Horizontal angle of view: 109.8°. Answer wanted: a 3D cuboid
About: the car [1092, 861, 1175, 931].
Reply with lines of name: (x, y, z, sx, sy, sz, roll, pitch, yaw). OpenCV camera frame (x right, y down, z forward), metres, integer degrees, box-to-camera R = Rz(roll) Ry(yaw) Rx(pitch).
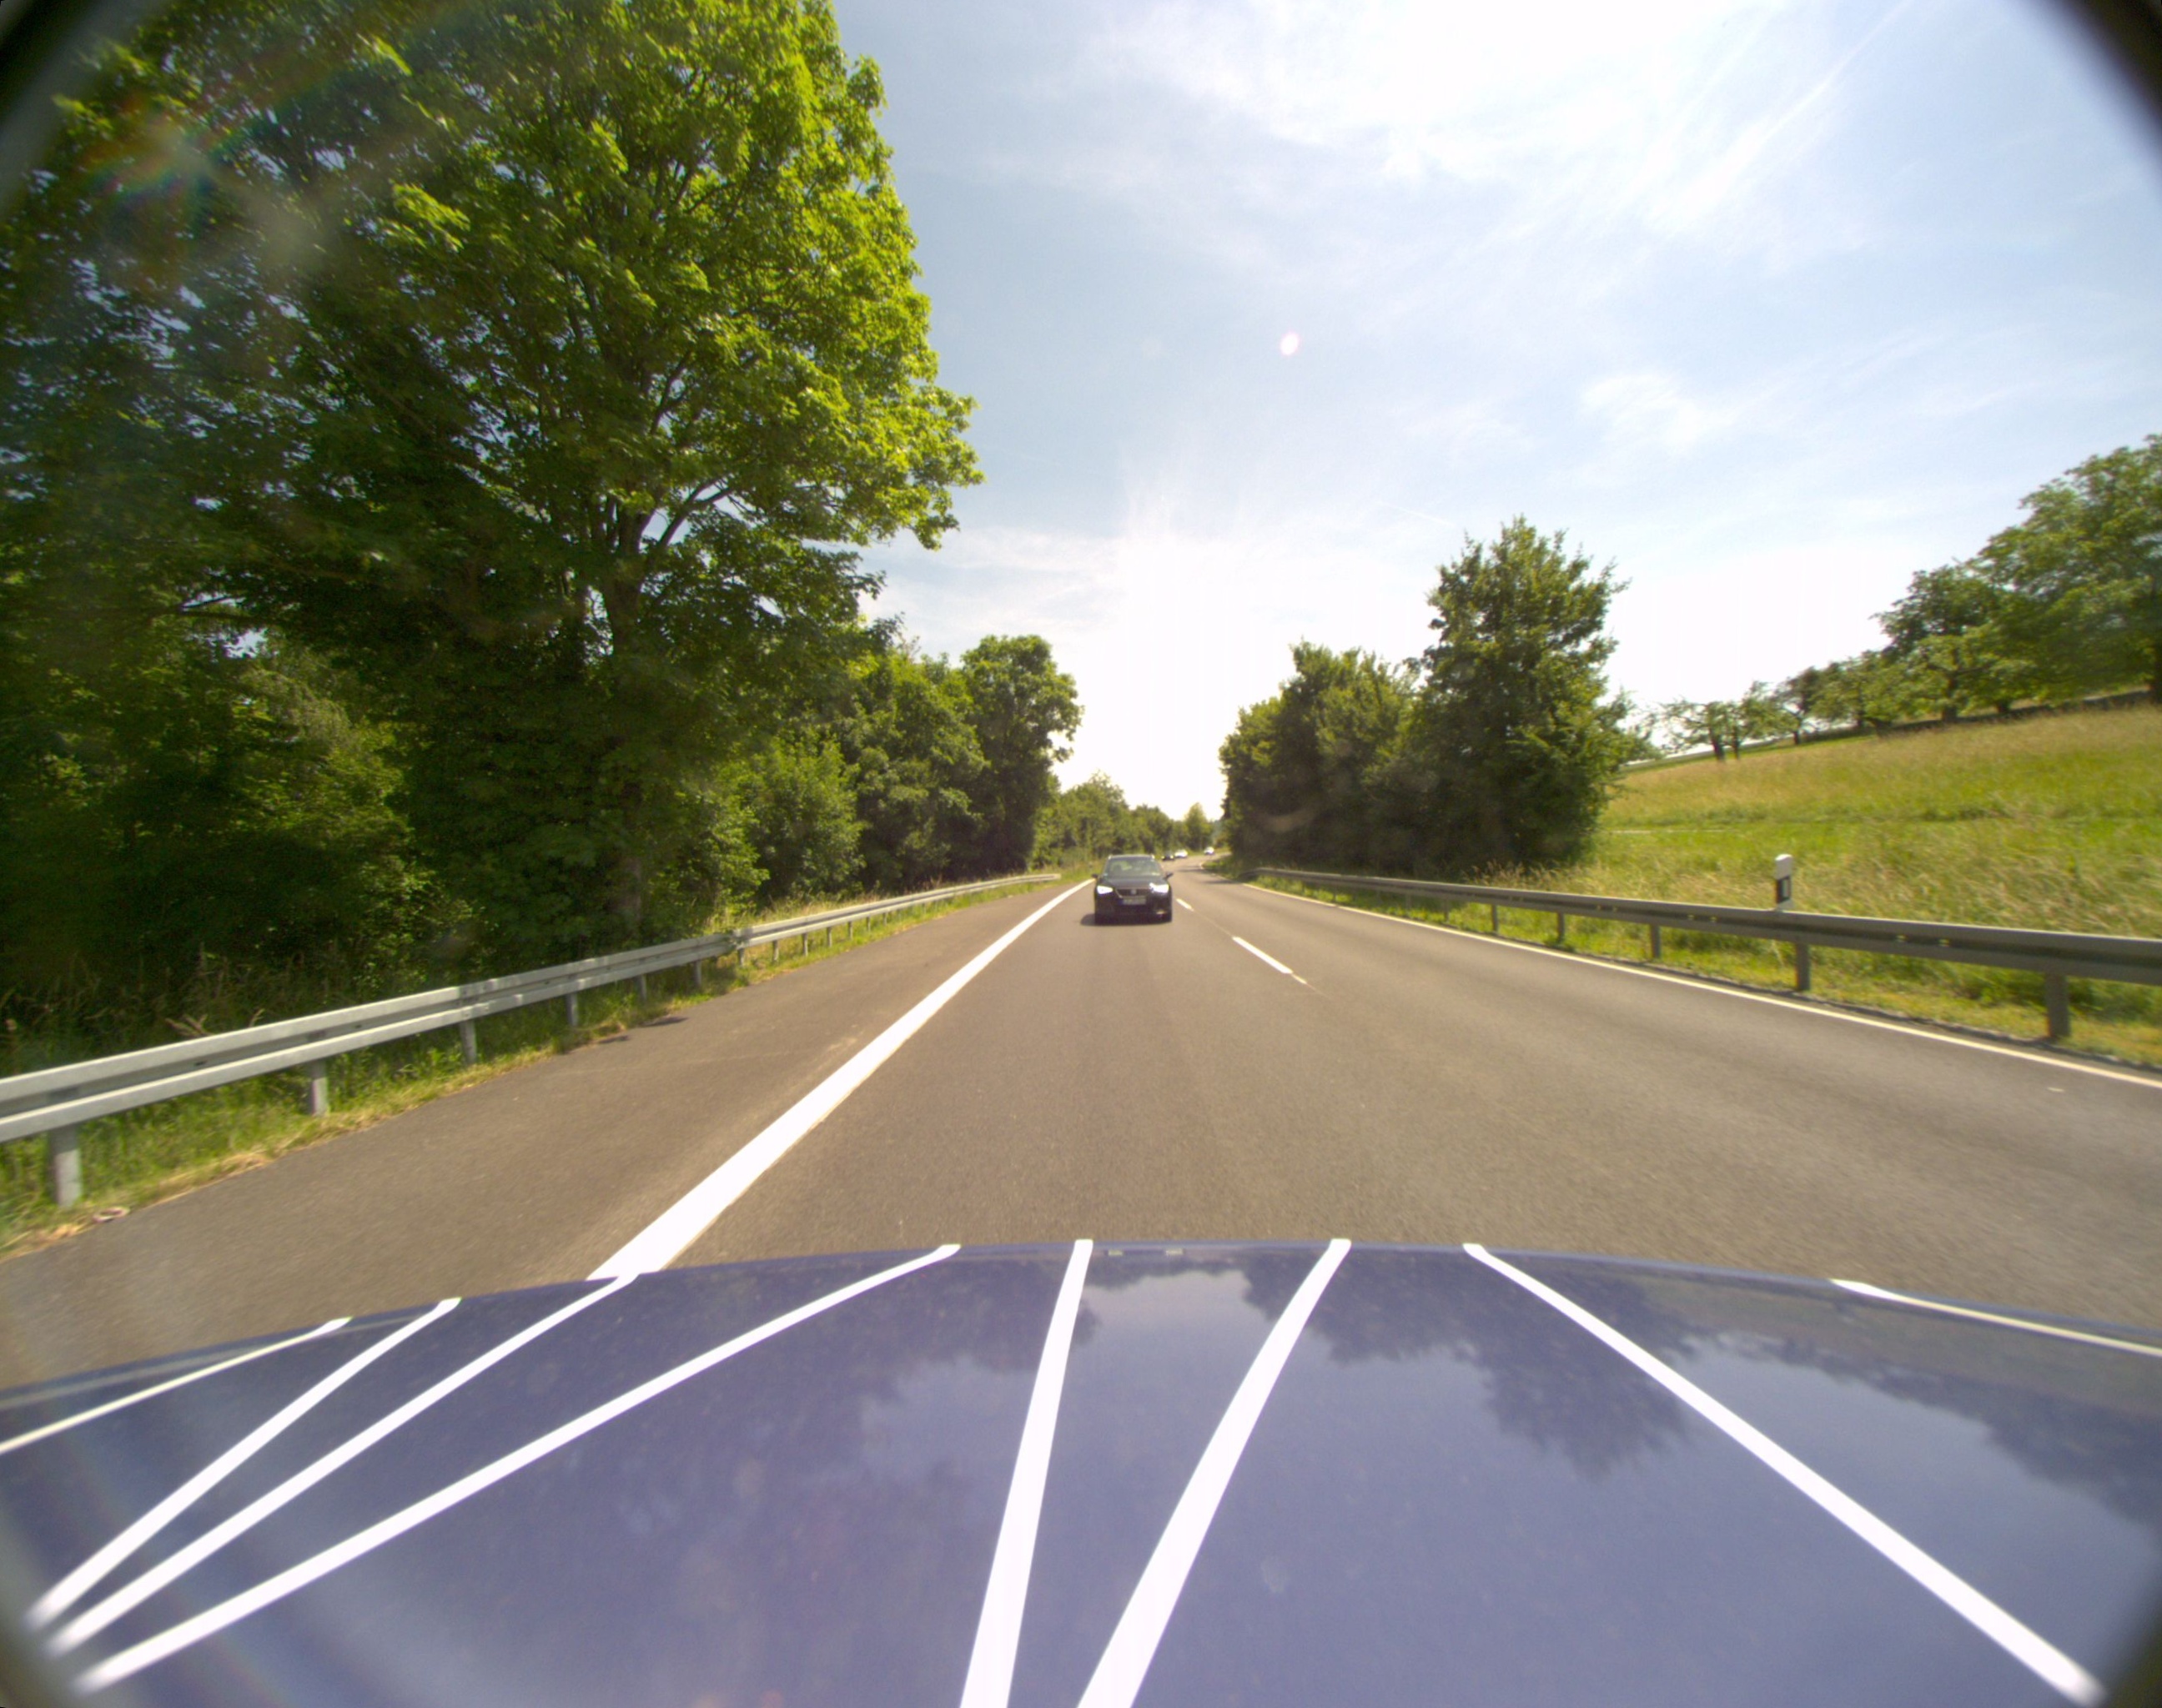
car: (1.257, 0.927, 18.182, 1.737, 1.467, 4.002, -1, -1, 4)

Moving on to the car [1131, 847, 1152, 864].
car: (6.503, 0.163, 81.150, 1.882, 1.698, 4.003, -1, -1, 9)

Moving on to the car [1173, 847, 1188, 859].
car: (17.830, -0.217, 136.548, 1.996, 2.002, 4.005, -1, 0, 17)

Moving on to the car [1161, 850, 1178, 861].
car: (13.367, 0.264, 114.546, 1.881, 1.698, 4.005, -1, -1, 14)

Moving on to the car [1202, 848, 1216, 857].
car: (27.924, -0.373, 165.589, 1.995, 2.002, 4.006, -2, 0, 22)
